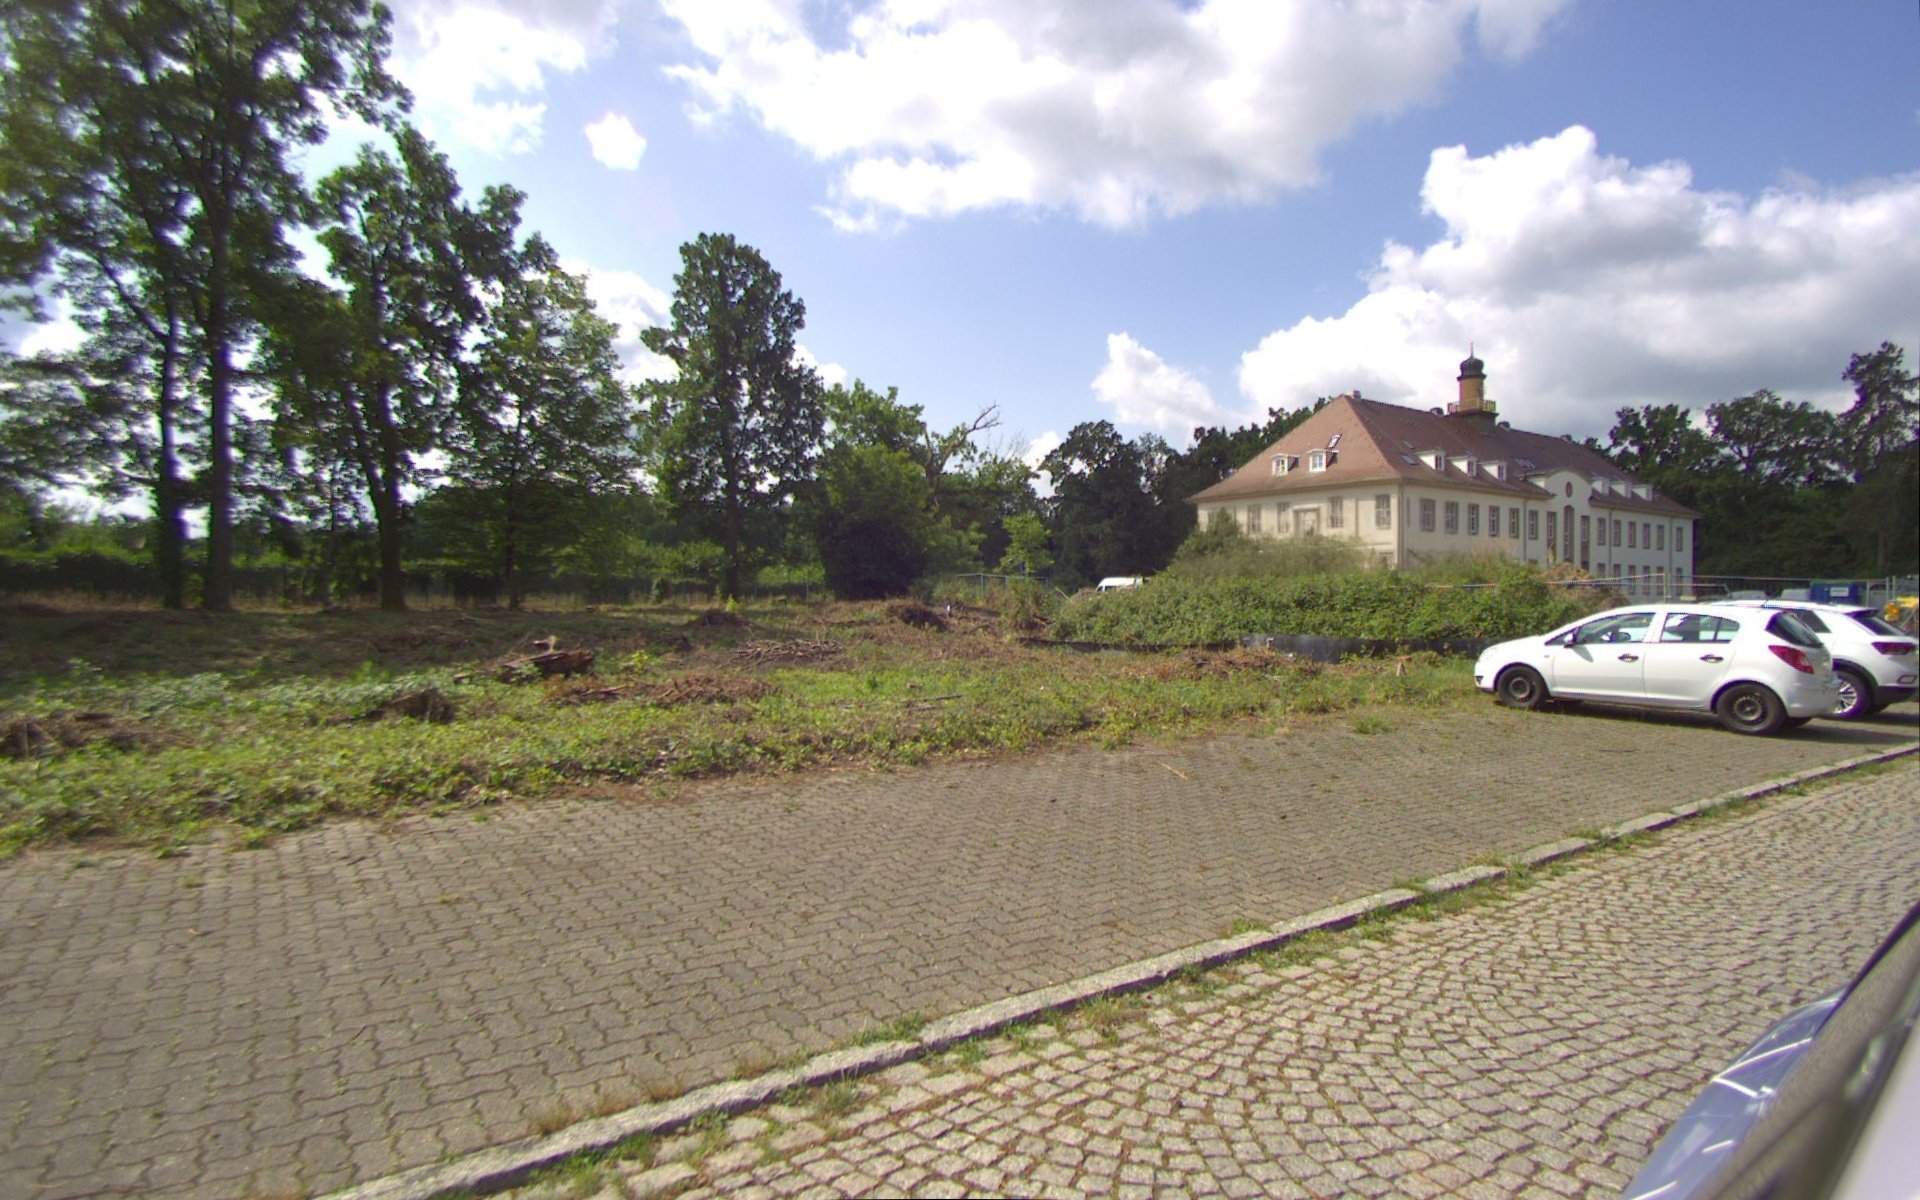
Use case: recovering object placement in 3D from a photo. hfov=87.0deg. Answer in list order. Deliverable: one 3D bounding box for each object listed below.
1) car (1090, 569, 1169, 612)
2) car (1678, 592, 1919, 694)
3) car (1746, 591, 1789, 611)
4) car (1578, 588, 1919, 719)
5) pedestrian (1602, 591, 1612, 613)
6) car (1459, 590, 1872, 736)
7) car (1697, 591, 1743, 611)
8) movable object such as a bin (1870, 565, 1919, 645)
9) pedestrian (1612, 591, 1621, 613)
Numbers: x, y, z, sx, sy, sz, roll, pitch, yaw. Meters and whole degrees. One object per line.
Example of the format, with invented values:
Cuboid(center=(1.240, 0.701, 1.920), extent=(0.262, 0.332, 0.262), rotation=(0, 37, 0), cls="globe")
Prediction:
Cuboid(center=(10.782, -0.640, 64.872), extent=(2.201, 2.623, 5.447), rotation=(0, 1, -26), cls="car")
Cuboid(center=(15.101, 0.684, 17.151), extent=(1.714, 1.493, 4.465), rotation=(0, 2, -38), cls="car")
Cuboid(center=(70.017, 0.042, 87.782), extent=(3.961, 1.704, 1.804), rotation=(0, 1, -34), cls="car")
Cuboid(center=(11.456, 0.649, 14.579), extent=(1.714, 1.525, 3.999), rotation=(0, 2, -37), cls="car")
Cuboid(center=(51.646, 0.167, 80.803), extent=(0.496, 1.810, 0.492), rotation=(0, -1, -12), cls="pedestrian")
Cuboid(center=(8.903, 0.666, 13.098), extent=(1.672, 1.482, 4.055), rotation=(0, 2, -37), cls="car")
Cuboid(center=(68.039, 0.075, 90.551), extent=(4.617, 1.750, 1.886), rotation=(0, 1, -34), cls="car")
Cuboid(center=(33.648, 0.220, 33.403), extent=(5.542, 2.553, 2.152), rotation=(1, 0, -6), cls="movable object such as a bin")
Cuboid(center=(52.874, 0.166, 81.538), extent=(0.497, 1.810, 0.491), rotation=(1, -1, -37), cls="pedestrian")
